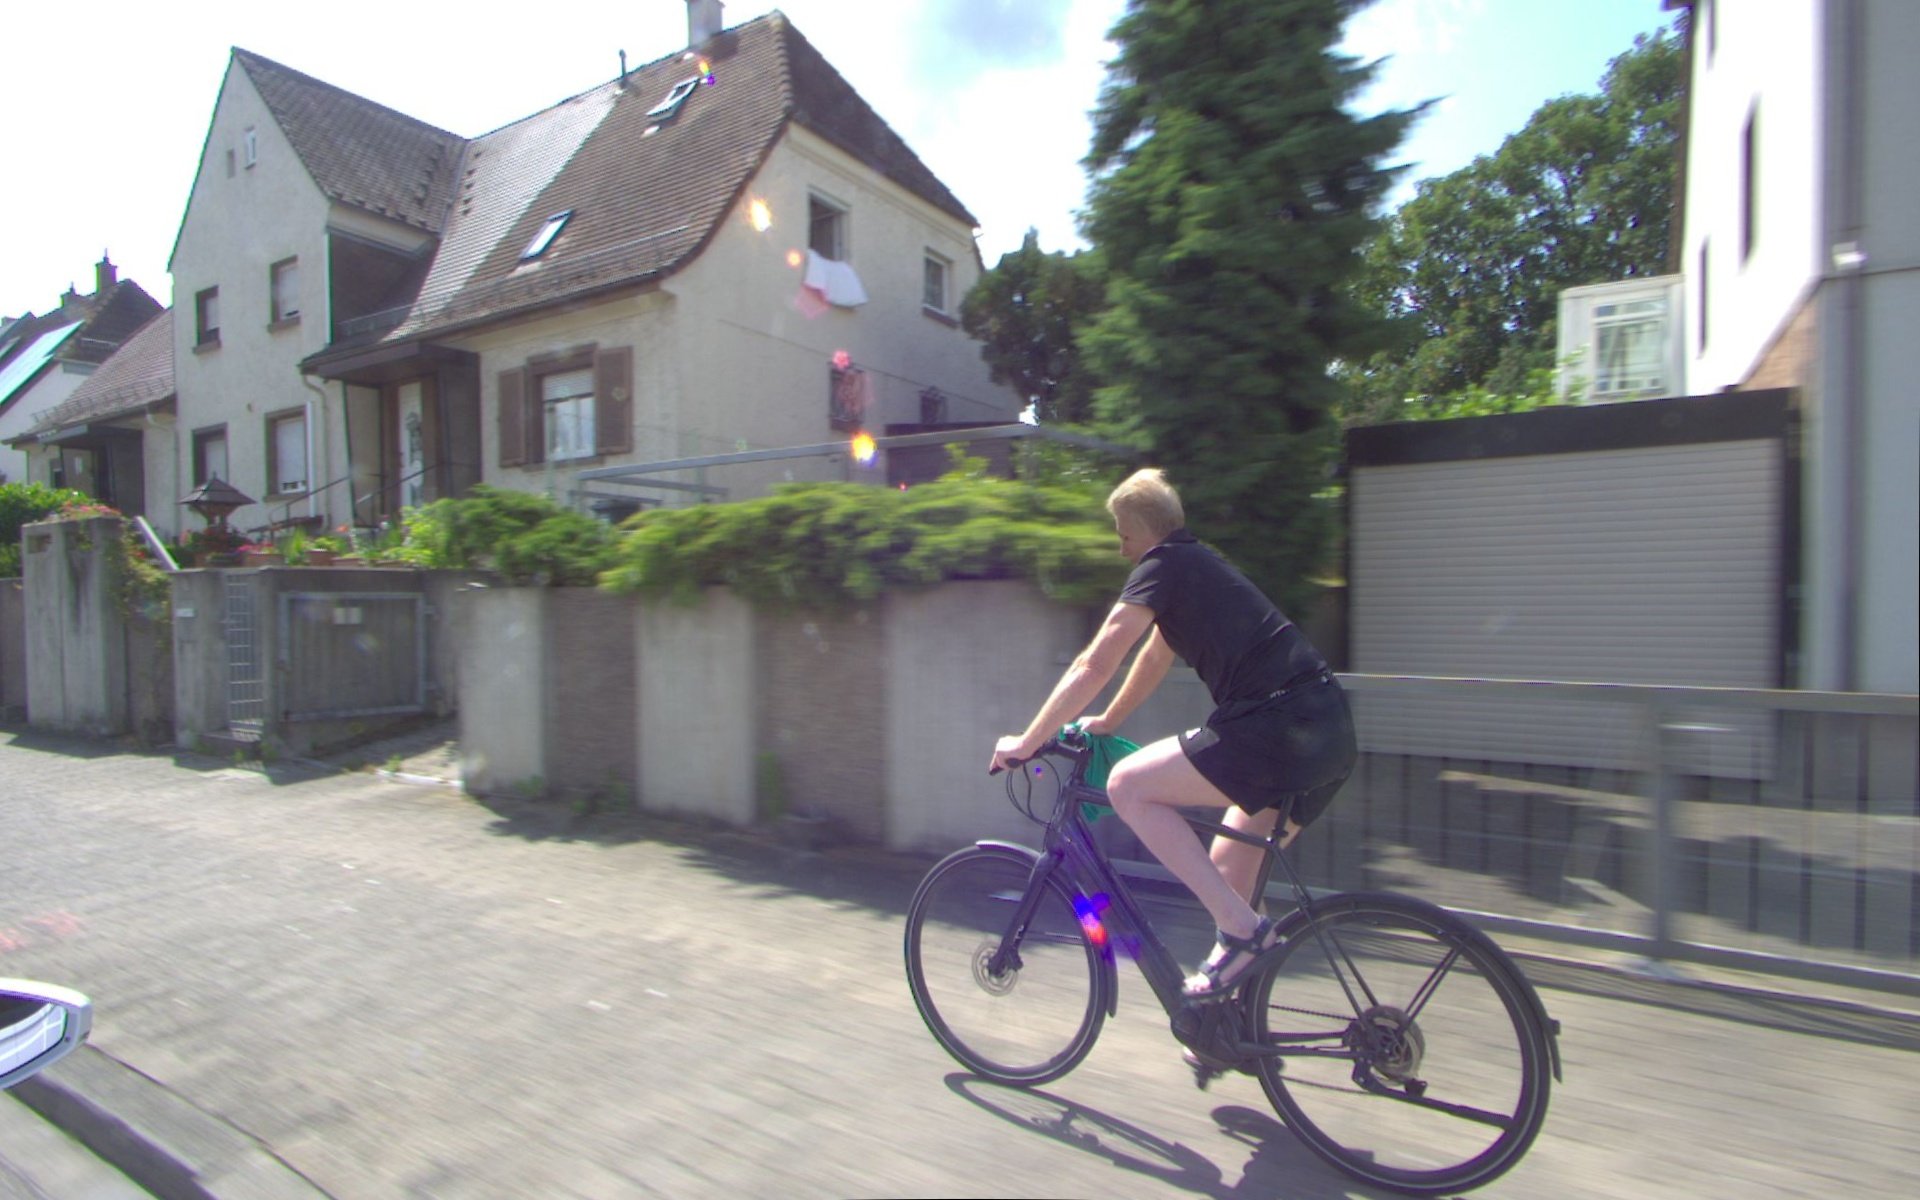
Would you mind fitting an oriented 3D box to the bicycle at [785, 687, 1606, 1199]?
[{"bbox_3d":[0.548,0.867,2.682,1.942,1.090,0.826,1,2,32],"label":"bicycle"}]

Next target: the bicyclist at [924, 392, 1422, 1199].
[{"bbox_3d":[0.582,0.484,2.651,1.068,1.818,0.826,1,3,31],"label":"bicyclist"}]
